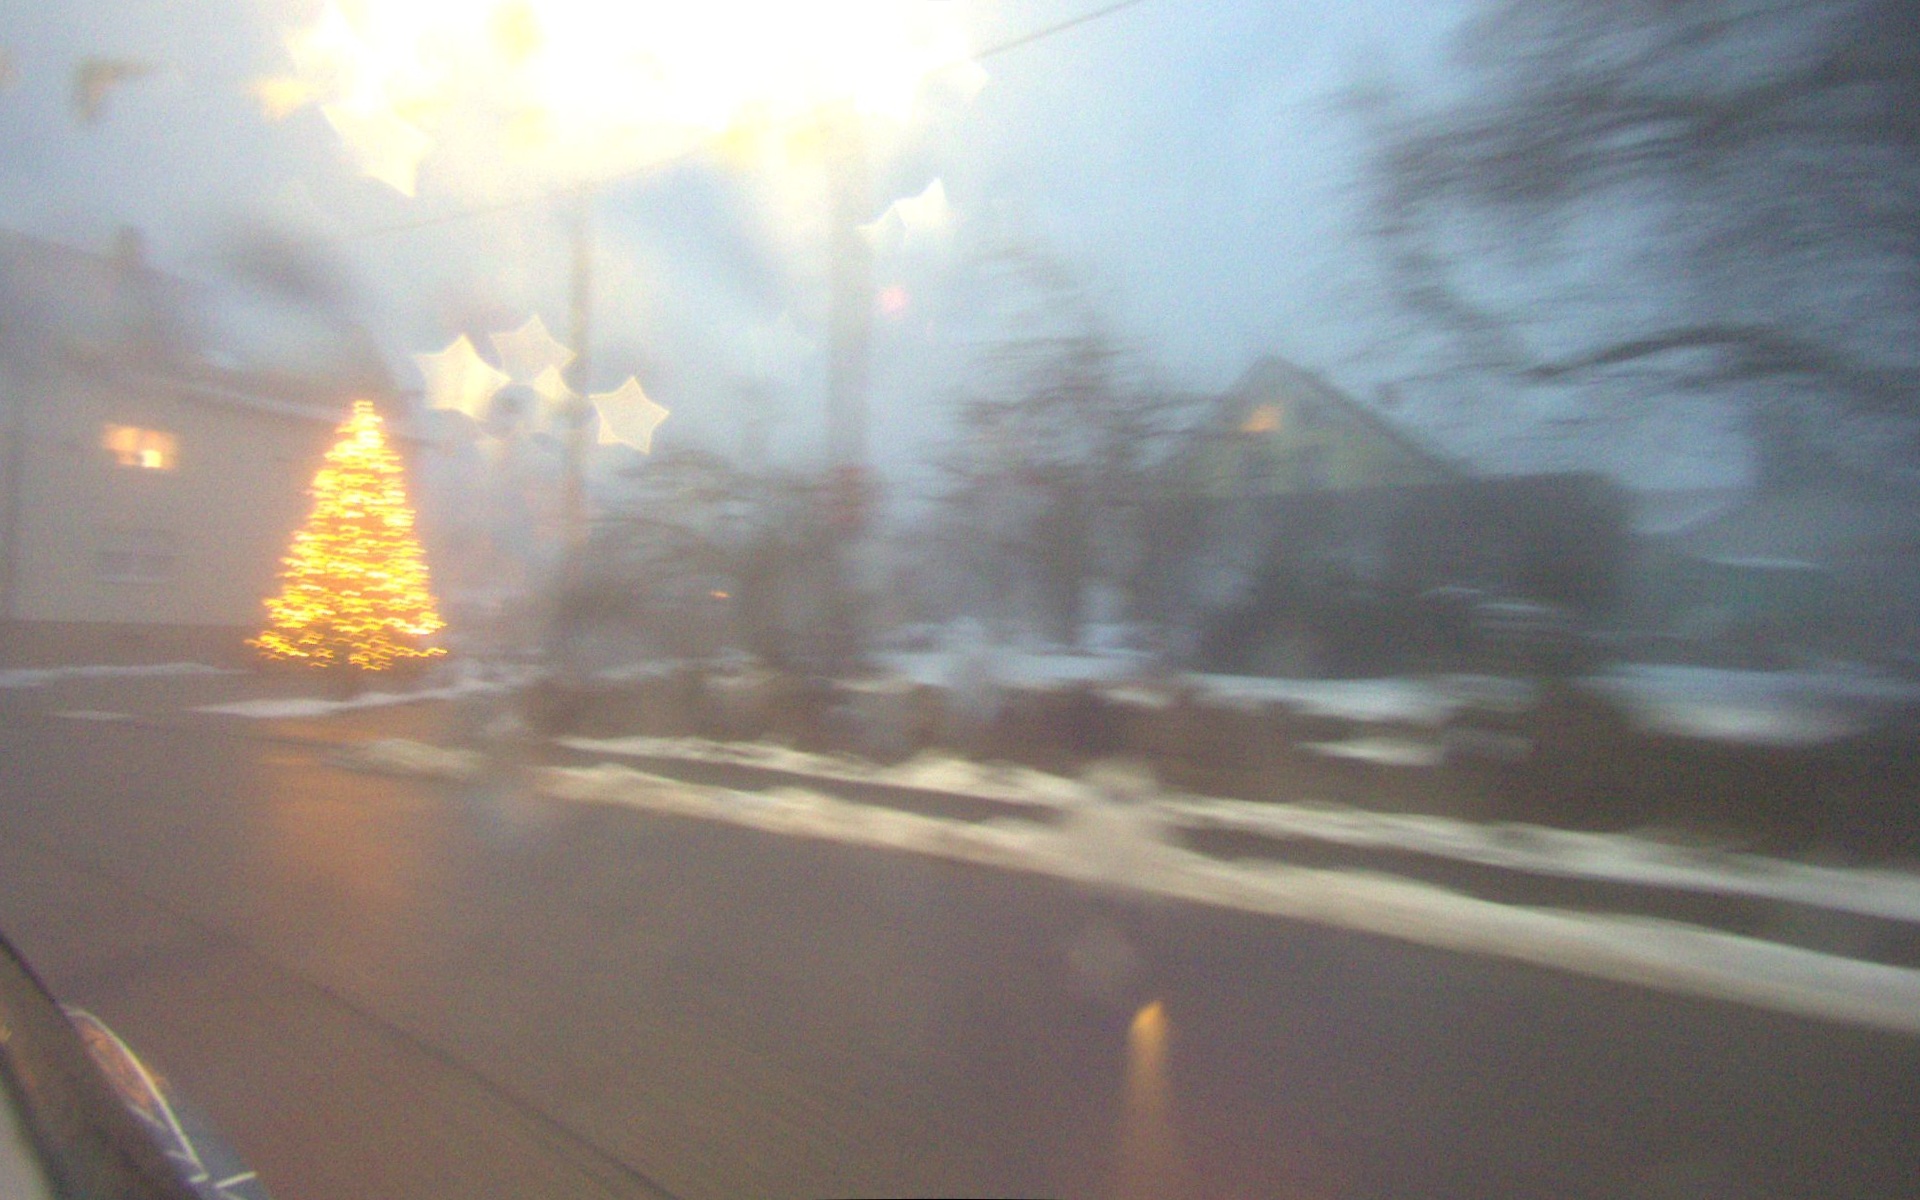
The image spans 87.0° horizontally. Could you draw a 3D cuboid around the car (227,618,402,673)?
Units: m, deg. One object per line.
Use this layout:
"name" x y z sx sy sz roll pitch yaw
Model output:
"car" -17.660 1.186 27.858 1.620 1.383 3.748 0 -1 31
